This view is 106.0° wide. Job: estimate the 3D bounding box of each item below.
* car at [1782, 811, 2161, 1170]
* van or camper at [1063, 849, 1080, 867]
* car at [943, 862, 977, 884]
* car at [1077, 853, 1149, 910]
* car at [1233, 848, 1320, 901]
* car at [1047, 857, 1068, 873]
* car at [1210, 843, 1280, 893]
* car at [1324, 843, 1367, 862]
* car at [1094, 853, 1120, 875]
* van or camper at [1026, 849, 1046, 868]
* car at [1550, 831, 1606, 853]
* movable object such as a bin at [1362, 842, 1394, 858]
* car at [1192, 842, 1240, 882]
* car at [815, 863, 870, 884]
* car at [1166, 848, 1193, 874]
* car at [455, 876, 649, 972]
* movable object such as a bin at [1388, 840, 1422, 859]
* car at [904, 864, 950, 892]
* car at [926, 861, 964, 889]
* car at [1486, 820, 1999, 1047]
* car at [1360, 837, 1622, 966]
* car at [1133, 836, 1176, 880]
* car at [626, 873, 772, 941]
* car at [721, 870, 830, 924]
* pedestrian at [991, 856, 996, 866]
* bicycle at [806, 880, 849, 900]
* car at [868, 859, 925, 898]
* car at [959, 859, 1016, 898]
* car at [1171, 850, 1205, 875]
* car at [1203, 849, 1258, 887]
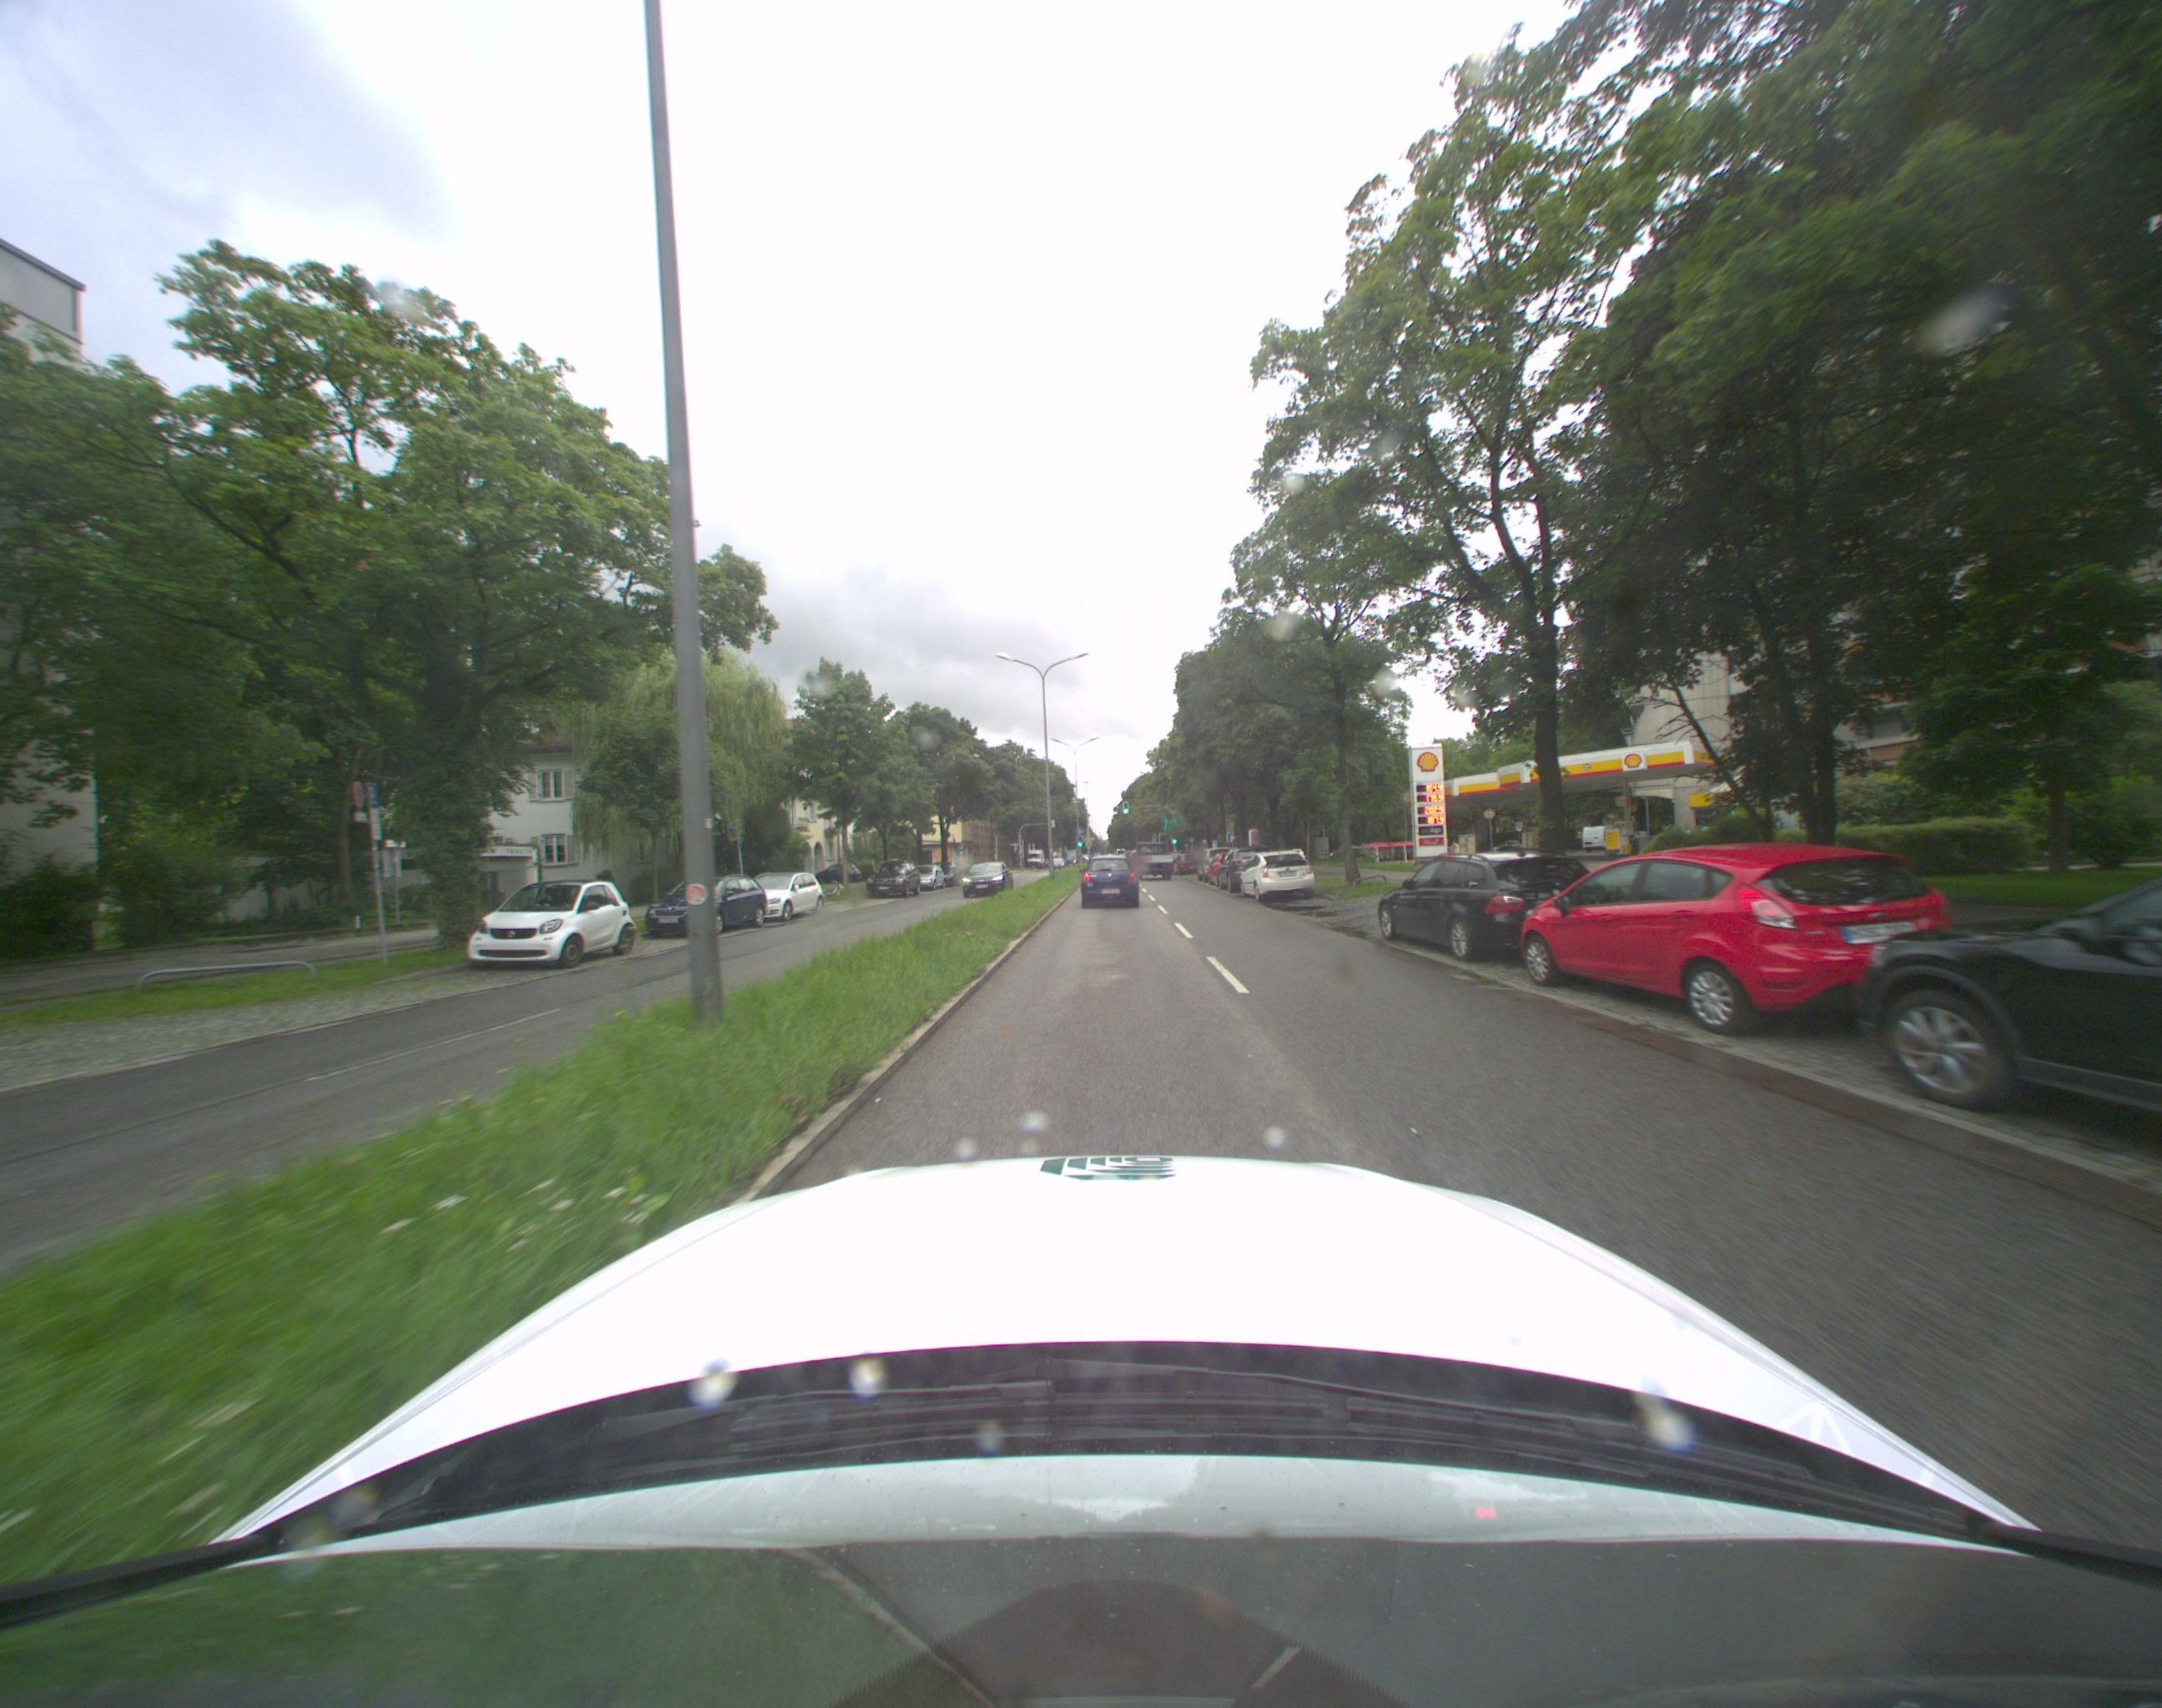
[{"bbox_3d":[5.573,0.569,3.365,1.772,1.511,4.289,-4,0,4],"label":"car"},{"bbox_3d":[-1.261,0.494,109.894,2.016,2.260,6.023,-3,0,1],"label":"van or camper"},{"bbox_3d":[-8.456,1.321,57.172,1.557,1.450,3.841,0,0,4],"label":"car"},{"bbox_3d":[0.890,0.771,24.689,1.891,1.499,3.658,-3,0,-1],"label":"car"},{"bbox_3d":[6.232,0.601,26.499,1.754,1.453,4.635,-4,0,2],"label":"car"},{"bbox_3d":[-2.408,1.128,84.855,1.730,1.442,4.107,-3,0,4],"label":"car"},{"bbox_3d":[6.354,0.506,32.063,1.754,1.698,5.232,-4,0,2],"label":"car"},{"bbox_3d":[27.593,-0.163,84.902,3.858,1.610,1.937,-7,0,8],"label":"car"},{"bbox_3d":[1.923,0.696,59.382,1.792,1.499,3.662,-3,0,2],"label":"car"},{"bbox_3d":[-6.324,0.639,114.509,2.132,2.476,6.262,-3,0,2],"label":"van or camper"},{"bbox_3d":[47.057,-1.122,77.155,4.007,1.610,1.773,-7,0,8],"label":"car"},{"bbox_3d":[24.504,-0.330,67.250,2.052,1.263,1.532,-3,0,2],"label":"movable object such as a bin"},{"bbox_3d":[6.937,0.402,42.166,1.754,1.830,4.530,-4,0,2],"label":"car"},{"bbox_3d":[-18.226,1.485,62.313,3.622,1.462,1.671,-3,0,-1],"label":"car"},{"bbox_3d":[7.302,0.511,60.889,1.754,1.658,4.291,-7,0,6],"label":"car"},{"bbox_3d":[-9.980,1.260,15.643,1.685,1.565,3.079,0,0,0],"label":"car"},{"bbox_3d":[26.725,-0.343,67.200,2.053,1.486,1.838,-3,0,2],"label":"movable object such as a bin"},{"bbox_3d":[-8.764,1.326,46.589,1.660,1.445,4.377,0,0,2],"label":"car"},{"bbox_3d":[-8.562,1.294,51.617,1.661,1.562,4.298,-3,0,0],"label":"car"},{"bbox_3d":[5.717,0.566,7.827,1.669,1.501,4.023,-4,0,2],"label":"car"},{"bbox_3d":[5.796,0.574,12.252,1.669,1.453,4.584,-4,0,2],"label":"car"},{"bbox_3d":[4.308,0.214,48.477,2.408,2.444,5.091,-1,0,3],"label":"car"},{"bbox_3d":[-9.752,1.287,21.202,1.668,1.475,4.217,0,0,2],"label":"car"},{"bbox_3d":[-9.540,1.293,25.829,1.668,1.443,4.322,0,0,2],"label":"car"},{"bbox_3d":[-12.986,1.057,121.494,0.626,1.440,0.807,-1,-1,2],"label":"pedestrian"},{"bbox_3d":[-11.365,1.595,36.628,1.446,0.829,1.404,-1,0,2],"label":"bicycle"},{"bbox_3d":[-8.916,1.138,39.801,1.791,1.763,5.054,0,0,-2],"label":"car"},{"bbox_3d":[-3.940,0.984,34.956,1.732,1.440,4.217,-3,0,2],"label":"car"},{"bbox_3d":[7.314,0.567,56.111,1.706,1.424,4.283,-7,0,1],"label":"car"},{"bbox_3d":[6.746,0.592,37.115,1.754,1.506,4.145,-4,0,2],"label":"car"}]
